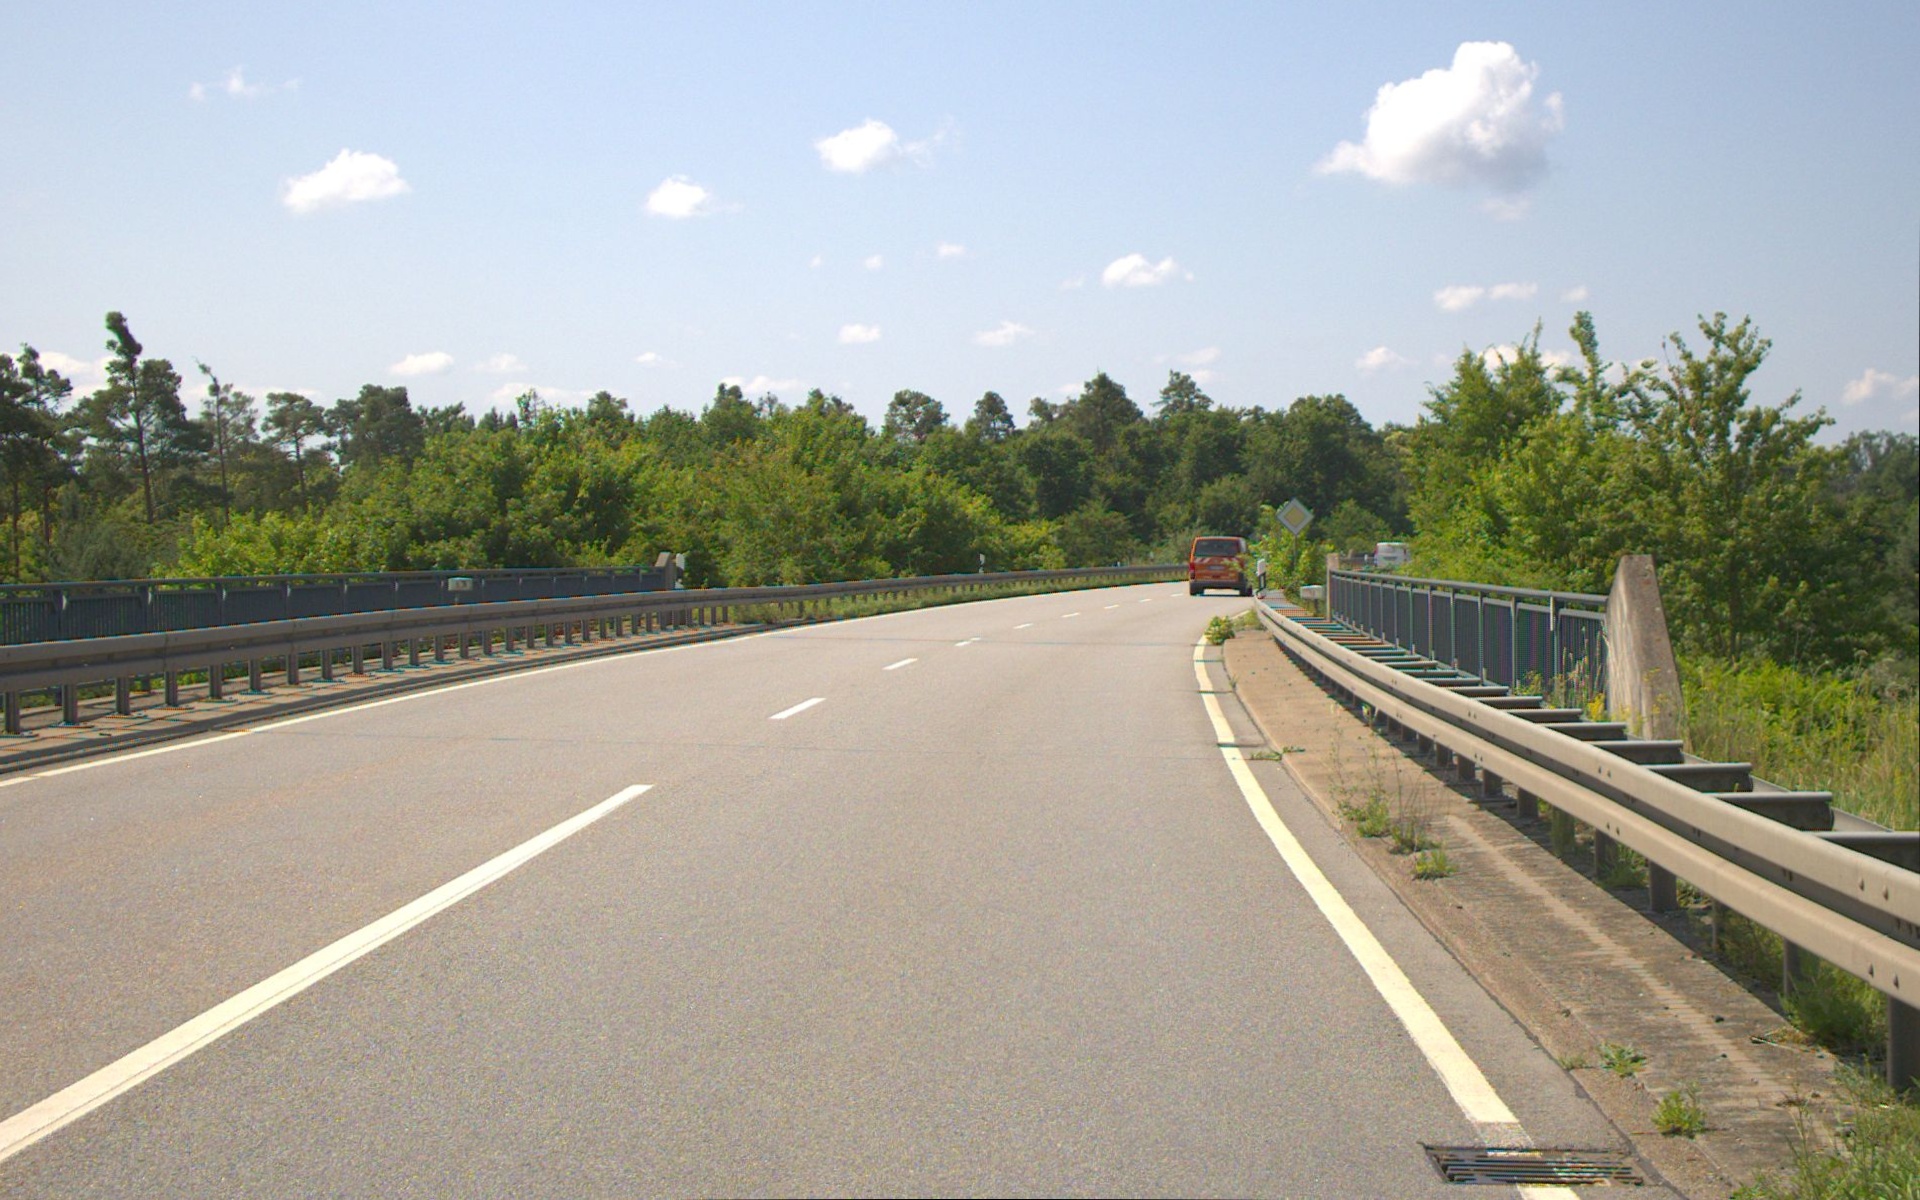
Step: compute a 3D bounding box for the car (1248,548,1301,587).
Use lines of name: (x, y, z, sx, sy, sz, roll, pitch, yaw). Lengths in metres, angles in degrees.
car: (12.412, -1.273, 135.786, 2.007, 1.488, 4.238, 1, 1, 4)

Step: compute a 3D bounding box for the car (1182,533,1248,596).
car: (8.464, -1.171, 113.911, 2.078, 1.986, 5.111, 1, 1, 4)

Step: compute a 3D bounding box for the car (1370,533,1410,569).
car: (24.285, -2.755, 194.219, 2.185, 1.948, 5.802, 2, 1, 7)
